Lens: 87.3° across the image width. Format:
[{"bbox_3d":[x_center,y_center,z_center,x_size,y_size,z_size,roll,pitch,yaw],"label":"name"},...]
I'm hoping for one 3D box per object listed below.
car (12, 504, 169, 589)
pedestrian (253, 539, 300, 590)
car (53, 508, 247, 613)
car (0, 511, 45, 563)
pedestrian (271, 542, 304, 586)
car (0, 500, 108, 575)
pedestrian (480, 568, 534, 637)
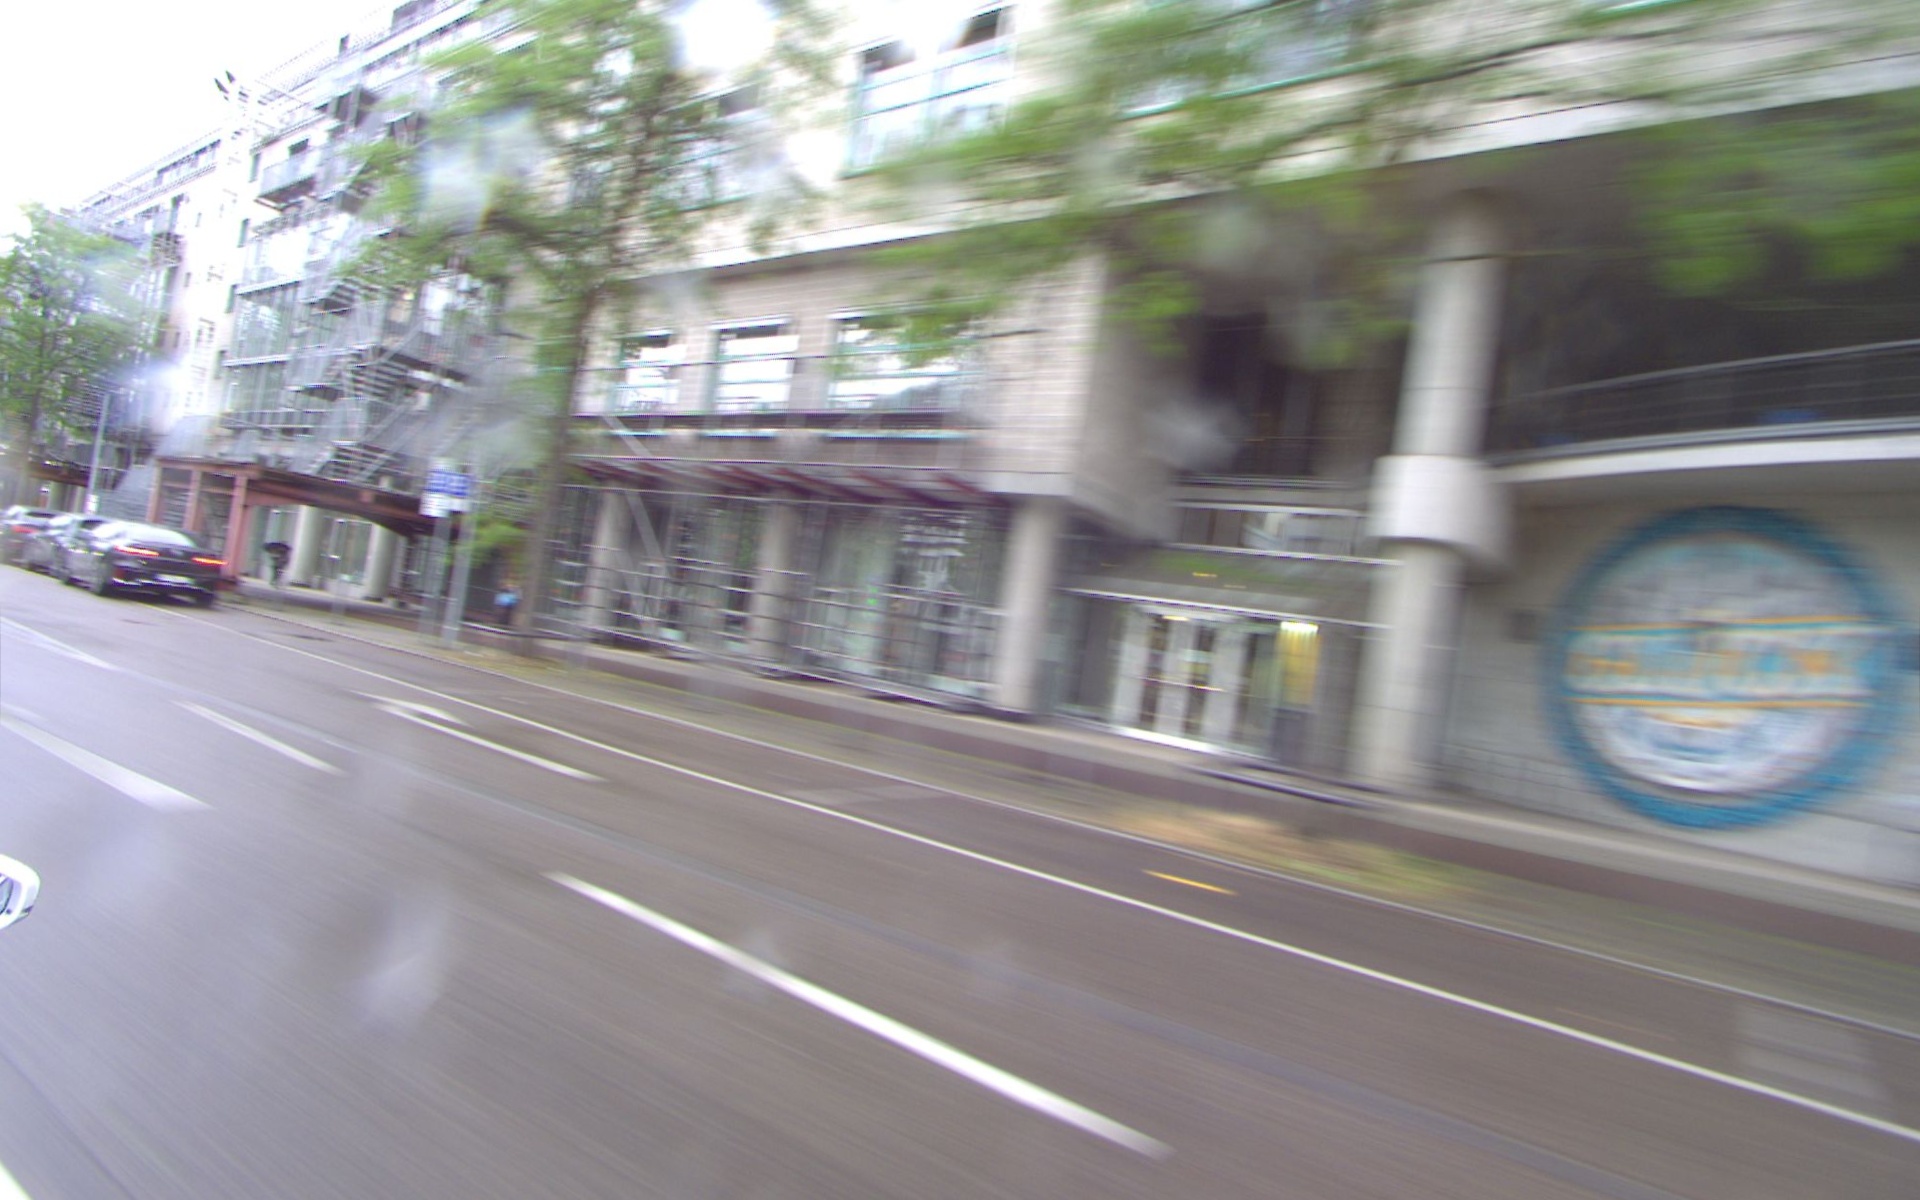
[{"bbox_3d":[-21.878,-1.365,25.260,4.522,1.619,1.863,6,-2,36],"label":"car"},{"bbox_3d":[-24.097,-1.248,35.447,1.095,1.614,0.820,7,-2,31],"label":"pedestrian"},{"bbox_3d":[-16.918,-0.874,20.918,5.212,1.619,1.994,6,-3,39],"label":"car"},{"bbox_3d":[-31.410,-2.210,32.484,4.848,1.454,1.870,6,-3,38],"label":"car"},{"bbox_3d":[-25.580,-1.378,38.243,0.756,1.536,0.680,6,-2,38],"label":"pedestrian"},{"bbox_3d":[-26.081,-1.816,28.447,4.790,1.665,1.994,6,-2,38],"label":"car"},{"bbox_3d":[-11.652,0.064,25.878,0.909,1.614,0.705,6,-2,34],"label":"pedestrian"}]
